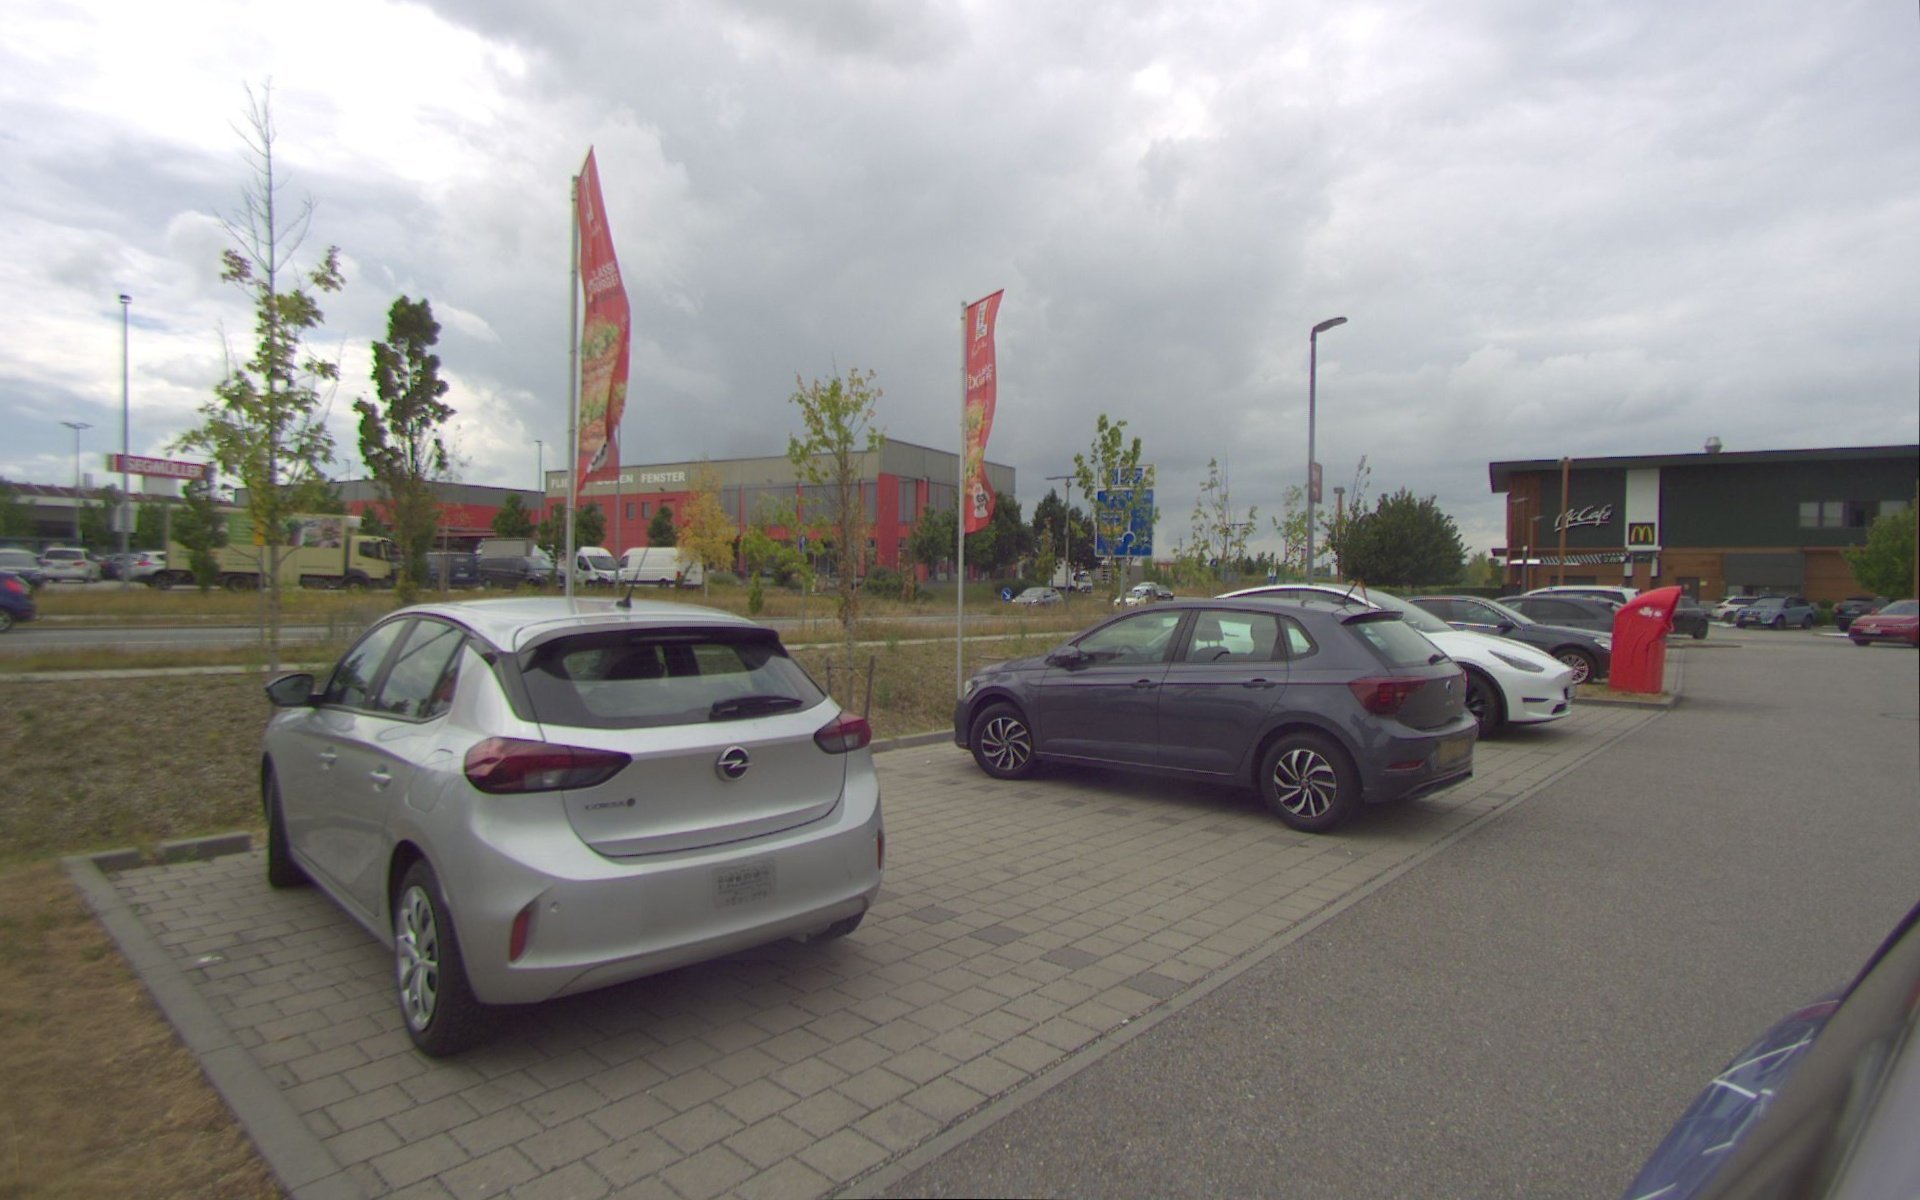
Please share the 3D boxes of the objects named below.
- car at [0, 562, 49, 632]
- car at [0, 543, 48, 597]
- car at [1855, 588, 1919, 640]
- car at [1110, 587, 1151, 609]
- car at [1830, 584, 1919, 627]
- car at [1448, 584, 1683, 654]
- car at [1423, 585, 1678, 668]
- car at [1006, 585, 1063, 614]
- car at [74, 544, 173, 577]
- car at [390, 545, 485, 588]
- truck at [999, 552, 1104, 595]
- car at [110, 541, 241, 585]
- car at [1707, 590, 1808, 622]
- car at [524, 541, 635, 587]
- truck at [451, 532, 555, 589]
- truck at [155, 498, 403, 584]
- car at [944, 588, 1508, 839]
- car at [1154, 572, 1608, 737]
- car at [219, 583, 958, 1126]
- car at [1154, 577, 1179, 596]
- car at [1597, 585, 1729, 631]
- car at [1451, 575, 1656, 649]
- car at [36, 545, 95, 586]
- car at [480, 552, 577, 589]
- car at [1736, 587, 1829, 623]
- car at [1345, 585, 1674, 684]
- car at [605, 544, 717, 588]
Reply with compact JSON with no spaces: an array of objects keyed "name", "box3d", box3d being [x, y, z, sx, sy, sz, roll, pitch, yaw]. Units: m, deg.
[{"name":"car","box3d":[-22.093,-0.081,21.585,1.656,1.477,3.859,4,3,44]},{"name":"car","box3d":[-34.183,-1.120,36.322,4.309,1.793,1.901,4,3,44]},{"name":"car","box3d":[28.958,0.438,30.080,3.915,1.482,1.691,1,0,-17]},{"name":"car","box3d":[12.237,-0.113,72.539,1.739,1.510,4.089,2,0,28]},{"name":"car","box3d":[42.501,0.249,46.738,3.917,1.771,2.004,2,2,-25]},{"name":"car","box3d":[13.914,0.417,23.437,4.484,1.485,1.924,-1,0,34]},{"name":"car","box3d":[11.234,0.466,19.407,4.041,1.430,1.866,-1,0,34]},{"name":"car","box3d":[4.224,-0.015,57.094,1.738,1.510,4.090,2,0,27]},{"name":"car","box3d":[-47.768,-2.234,57.847,1.986,1.793,3.953,3,2,33]},{"name":"car","box3d":[-24.829,-1.587,48.046,5.042,1.908,2.050,1,1,37]},{"name":"truck","box3d":[10.524,-3.174,117.337,11.933,4.554,3.717,3,2,37]},{"name":"car","box3d":[-34.206,-1.576,44.196,1.914,1.793,4.256,3,3,41]},{"name":"car","box3d":[43.221,0.305,54.968,3.964,1.524,1.771,3,2,29]},{"name":"car","box3d":[-20.430,-1.928,54.320,6.013,2.241,2.389,3,2,32]},{"name":"truck","box3d":[-32.997,-2.898,72.994,8.189,3.789,2.628,3,2,31]},{"name":"truck","box3d":[-28.686,-2.455,43.129,8.254,3.235,3.037,1,2,-21]},{"name":"car","box3d":[1.835,0.654,7.681,3.793,1.430,1.712,-1,0,43]},{"name":"car","box3d":[4.730,0.526,11.764,4.525,1.560,1.898,-1,0,40]},{"name":"car","box3d":[-2.019,0.680,4.728,1.810,1.430,3.928,0,0,-44]},{"name":"car","box3d":[20.536,-1.401,100.661,1.965,1.726,3.996,1,3,5]},{"name":"car","box3d":[23.248,0.264,33.463,3.848,1.430,1.691,1,0,-21]},{"name":"car","box3d":[15.054,0.293,25.791,4.341,1.735,1.968,-1,0,34]},{"name":"car","box3d":[-42.183,-1.662,47.799,1.964,1.793,3.997,0,3,-40]},{"name":"car","box3d":[-22.095,-1.518,51.791,5.031,1.659,2.054,3,2,32]},{"name":"car","box3d":[39.530,0.243,48.638,3.823,1.604,1.755,1,2,-21]},{"name":"car","box3d":[9.220,0.526,17.176,4.712,1.475,1.887,-1,0,36]},{"name":"car","box3d":[-17.177,-1.962,57.994,6.451,2.295,2.322,3,2,30]}]
